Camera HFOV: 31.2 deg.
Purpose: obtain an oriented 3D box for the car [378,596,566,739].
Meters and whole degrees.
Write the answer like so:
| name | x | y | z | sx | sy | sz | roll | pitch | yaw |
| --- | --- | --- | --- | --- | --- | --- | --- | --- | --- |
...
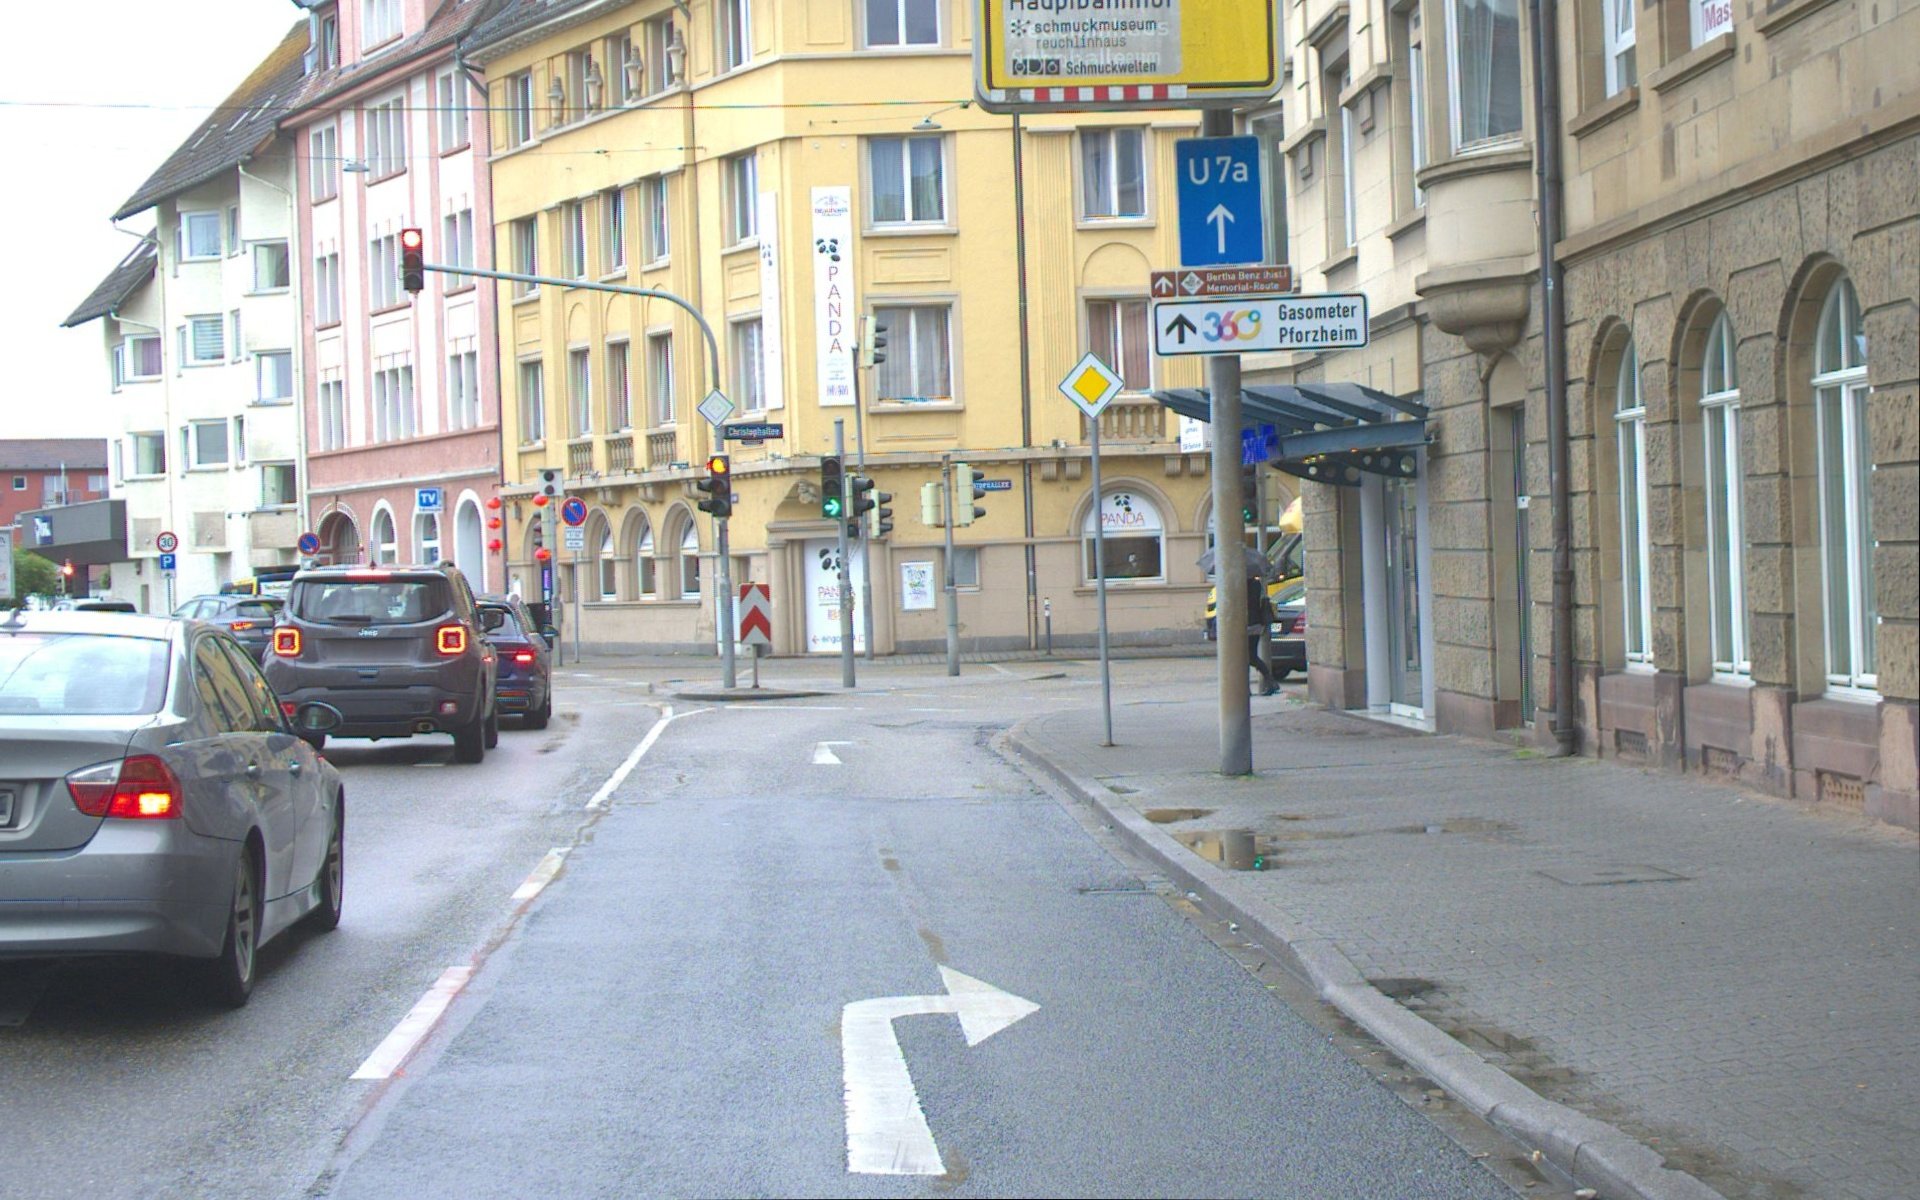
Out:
| name | x | y | z | sx | sy | sz | roll | pitch | yaw |
| --- | --- | --- | --- | --- | --- | --- | --- | --- | --- |
| car | -5.131 | 0.684 | 36.605 | 1.802 | 1.401 | 4.685 | -1 | 0 | -6 |

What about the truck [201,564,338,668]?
| name | x | y | z | sx | sy | sz | roll | pitch | yaw |
| --- | --- | --- | --- | --- | --- | --- | --- | --- | --- |
| truck | -16.828 | 0.375 | 83.647 | 2.026 | 2.381 | 4.237 | 3 | -1 | -28 |

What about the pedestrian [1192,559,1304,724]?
| name | x | y | z | sx | sy | sz | roll | pitch | yaw |
| --- | --- | --- | --- | --- | --- | --- | --- | --- | --- |
| pedestrian | 3.394 | 0.478 | 40.448 | 1.058 | 1.897 | 1.024 | -1 | 0 | 18 |

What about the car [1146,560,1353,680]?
| name | x | y | z | sx | sy | sz | roll | pitch | yaw |
| --- | --- | --- | --- | --- | --- | --- | --- | --- | --- |
| car | 3.922 | 0.276 | 47.236 | 1.799 | 1.558 | 4.001 | -1 | 0 | -11 |

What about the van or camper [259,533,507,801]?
| name | x | y | z | sx | sy | sz | roll | pitch | yaw |
| --- | --- | --- | --- | --- | --- | --- | --- | --- | --- |
| van or camper | -4.928 | 0.545 | 29.812 | 1.854 | 2.139 | 4.143 | -1 | 0 | -6 |

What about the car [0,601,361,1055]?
| name | x | y | z | sx | sy | sz | roll | pitch | yaw |
| --- | --- | --- | --- | --- | --- | --- | --- | --- | --- |
| car | -3.407 | 0.751 | 13.226 | 1.799 | 1.459 | 4.371 | 0 | -1 | -5 |

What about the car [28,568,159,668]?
| name | x | y | z | sx | sy | sz | roll | pitch | yaw |
| --- | --- | --- | --- | --- | --- | --- | --- | --- | --- |
| car | -18.379 | 0.377 | 72.798 | 1.993 | 2.007 | 4.001 | -2 | 0 | -24 |

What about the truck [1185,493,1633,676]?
| name | x | y | z | sx | sy | sz | roll | pitch | yaw |
| --- | --- | --- | --- | --- | --- | --- | --- | --- | --- |
| truck | 7.443 | -0.258 | 57.466 | 7.090 | 2.841 | 2.083 | -1 | 0 | -3 |

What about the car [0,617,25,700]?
| name | x | y | z | sx | sy | sz | roll | pitch | yaw |
| --- | --- | --- | --- | --- | --- | --- | --- | --- | --- |
| car | -24.722 | 1.453 | 85.662 | 1.993 | 2.007 | 4.001 | -2 | 0 | -26 |

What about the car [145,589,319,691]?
| name | x | y | z | sx | sy | sz | roll | pitch | yaw |
| --- | --- | --- | --- | --- | --- | --- | --- | --- | --- |
| car | -13.713 | 0.758 | 64.586 | 1.993 | 1.810 | 4.000 | -2 | 0 | -30 |

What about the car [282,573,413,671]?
| name | x | y | z | sx | sy | sz | roll | pitch | yaw |
| --- | --- | --- | --- | --- | --- | --- | --- | --- | --- |
| car | -14.030 | 0.492 | 78.633 | 1.761 | 2.173 | 4.000 | 1 | 0 | -28 |
